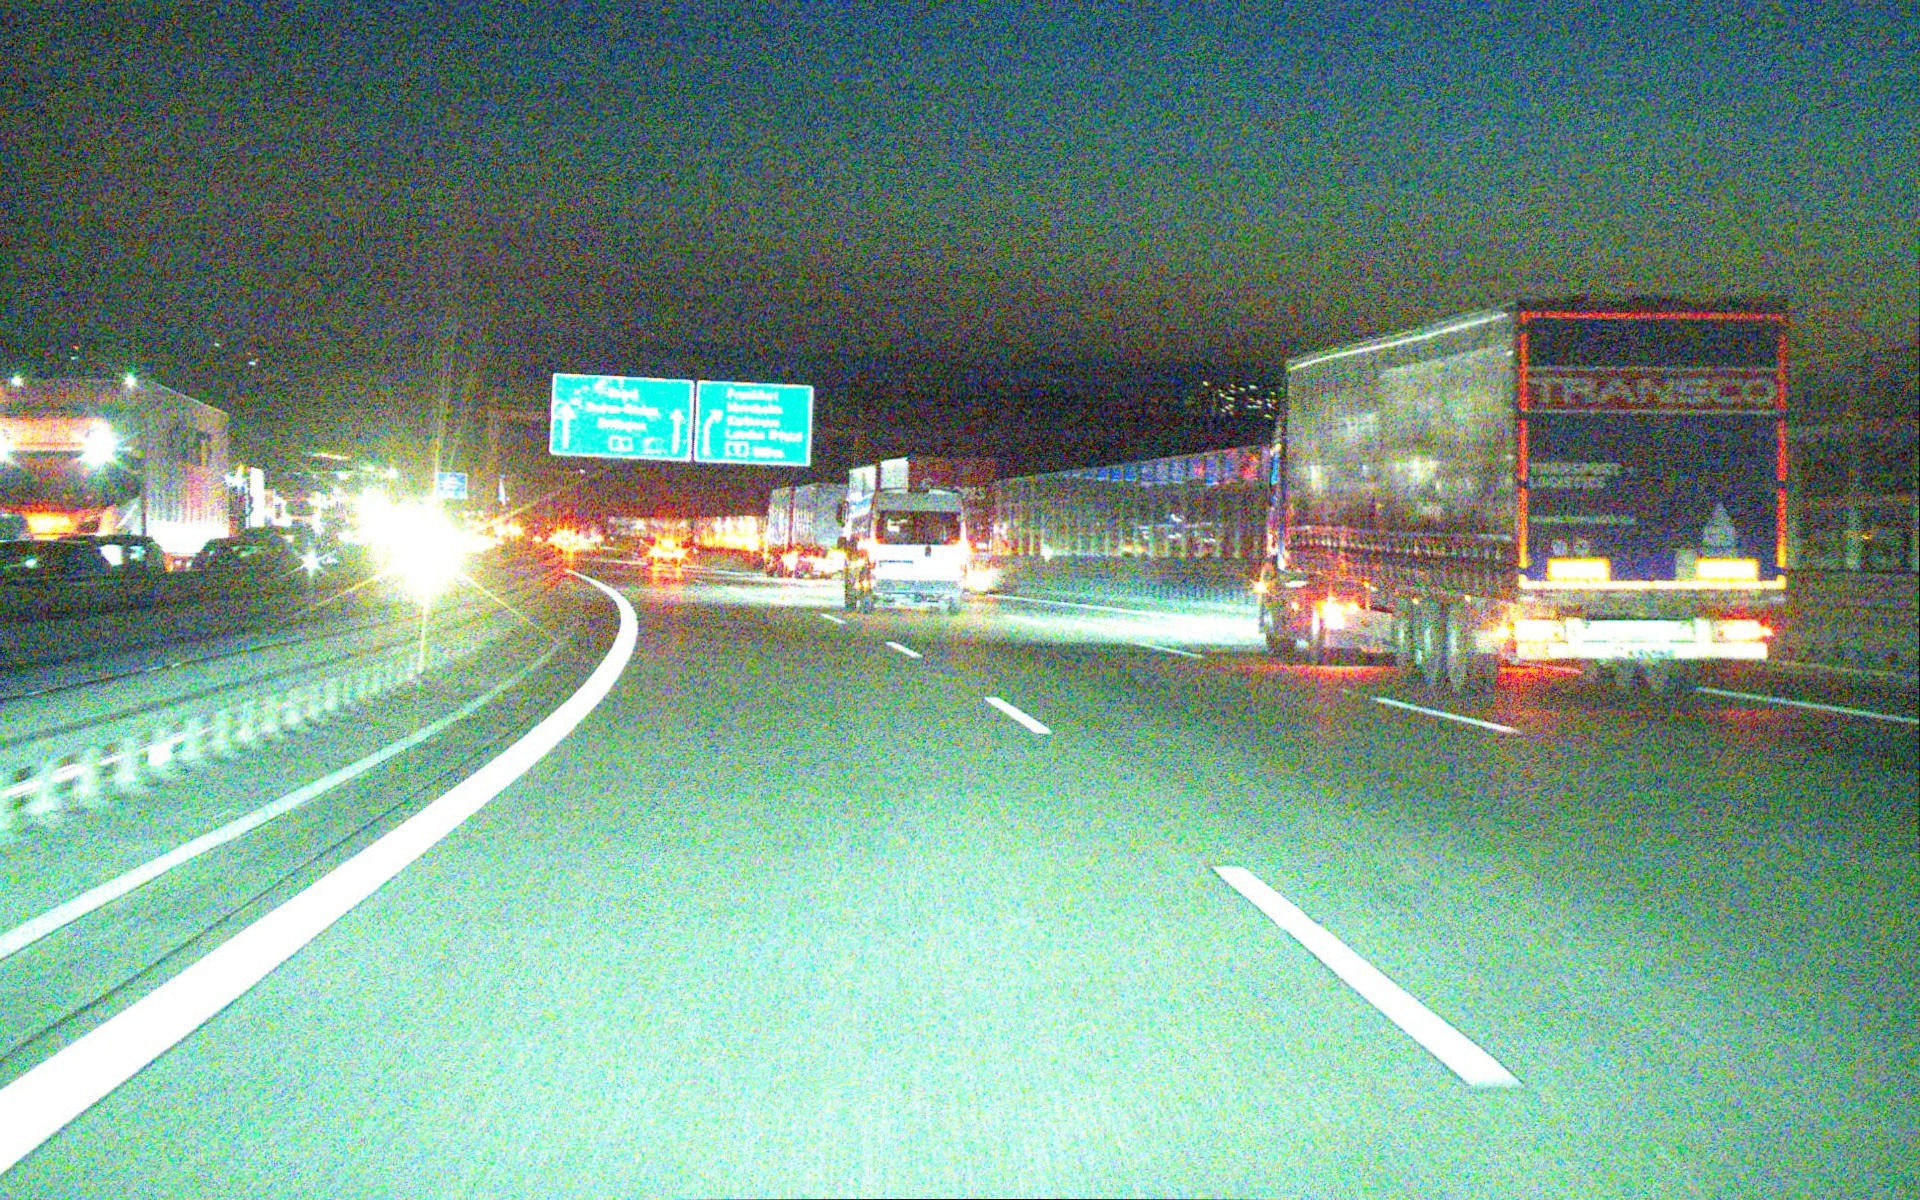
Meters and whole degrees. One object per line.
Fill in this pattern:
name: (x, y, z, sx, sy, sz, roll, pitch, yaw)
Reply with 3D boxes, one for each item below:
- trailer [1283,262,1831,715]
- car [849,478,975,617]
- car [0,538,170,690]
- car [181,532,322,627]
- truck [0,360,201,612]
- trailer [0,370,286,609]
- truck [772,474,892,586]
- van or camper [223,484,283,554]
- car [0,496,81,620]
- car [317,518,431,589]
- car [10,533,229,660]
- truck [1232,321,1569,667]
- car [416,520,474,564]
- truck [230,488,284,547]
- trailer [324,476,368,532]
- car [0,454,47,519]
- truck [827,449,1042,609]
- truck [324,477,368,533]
trailer: (6.013, -1.120, 37.619, 2.853, 4.053, 13.207, 1, 1, -4)
car: (-1.034, -1.029, 70.664, 2.337, 2.631, 5.248, 2, -1, -2)
car: (-9.368, 0.093, 34.891, 1.912, 1.438, 4.651, 0, 1, -4)
car: (-11.153, -0.342, 54.364, 1.702, 1.421, 4.513, 0, 1, -6)
truck: (-15.831, -1.930, 61.134, 3.108, 4.083, 7.076, 4, -1, -3)
trailer: (-16.110, -1.978, 68.259, 3.090, 4.074, 12.450, 4, -1, -2)
truck: (-5.711, -3.099, 150.319, 3.343, 4.460, 13.914, 3, 1, -9)
van or camper: (-34.680, -3.943, 168.838, 2.432, 3.261, 7.396, 2, 1, -9)
car: (-15.062, -0.654, 52.509, 1.993, 1.804, 5.487, 0, 1, -2)
car: (-12.642, -1.017, 74.419, 1.874, 1.421, 4.513, 2, 1, -3)
car: (-10.803, -0.082, 44.489, 1.833, 1.548, 4.513, 0, 1, -1)
truck: (5.525, -1.323, 44.535, 2.861, 4.063, 7.512, 1, 1, -4)
car: (-16.810, -1.879, 112.347, 1.570, 1.349, 4.001, 2, 1, -4)
truck: (-39.110, -4.561, 191.419, 2.555, 2.975, 7.454, 2, 0, -9)
trailer: (-45.471, -7.036, 254.513, 2.884, 3.659, 12.220, 4, -1, -10)
car: (-22.891, -2.675, 81.505, 1.653, 1.472, 3.775, 0, 1, -3)
truck: (-1.141, -2.128, 110.442, 3.914, 4.611, 21.023, 0, 0, -9)
truck: (-44.340, -6.849, 248.265, 2.873, 3.661, 6.782, 4, -1, -10)
